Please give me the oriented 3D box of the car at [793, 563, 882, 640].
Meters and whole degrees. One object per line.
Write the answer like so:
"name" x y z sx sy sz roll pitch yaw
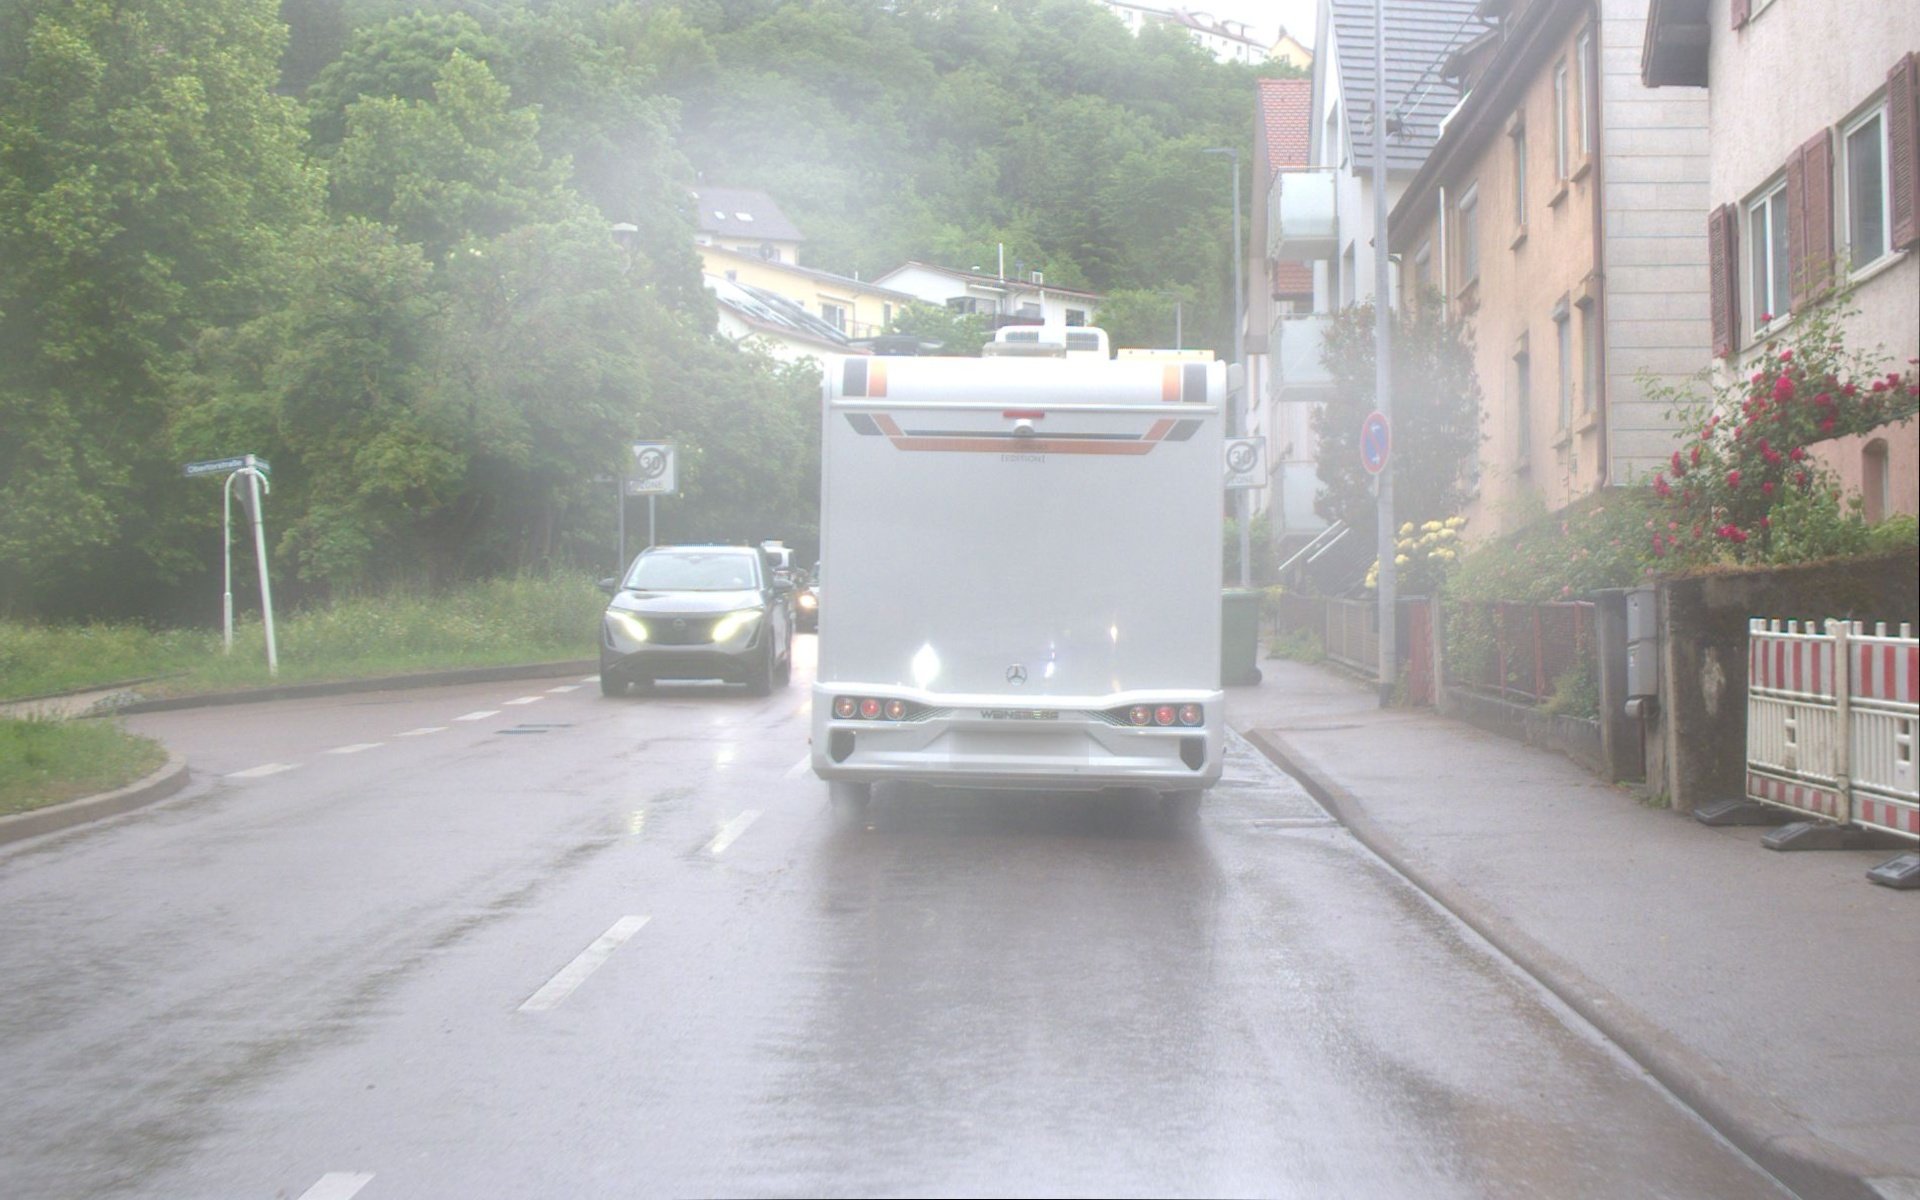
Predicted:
"car" -2.380 0.009 67.688 1.560 1.449 4.085 1 1 0

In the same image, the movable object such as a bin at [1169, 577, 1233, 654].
"movable object such as a bin" 3.519 0.224 50.179 0.914 1.099 0.702 1 0 4

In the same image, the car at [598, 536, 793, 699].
"car" -2.888 0.158 38.320 1.751 1.683 4.376 1 1 1

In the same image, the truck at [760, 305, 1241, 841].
"truck" 0.223 -0.176 21.393 2.515 2.808 6.201 1 1 0

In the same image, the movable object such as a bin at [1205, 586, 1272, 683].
"movable object such as a bin" 3.104 0.380 38.381 0.720 1.048 0.800 1 1 5
